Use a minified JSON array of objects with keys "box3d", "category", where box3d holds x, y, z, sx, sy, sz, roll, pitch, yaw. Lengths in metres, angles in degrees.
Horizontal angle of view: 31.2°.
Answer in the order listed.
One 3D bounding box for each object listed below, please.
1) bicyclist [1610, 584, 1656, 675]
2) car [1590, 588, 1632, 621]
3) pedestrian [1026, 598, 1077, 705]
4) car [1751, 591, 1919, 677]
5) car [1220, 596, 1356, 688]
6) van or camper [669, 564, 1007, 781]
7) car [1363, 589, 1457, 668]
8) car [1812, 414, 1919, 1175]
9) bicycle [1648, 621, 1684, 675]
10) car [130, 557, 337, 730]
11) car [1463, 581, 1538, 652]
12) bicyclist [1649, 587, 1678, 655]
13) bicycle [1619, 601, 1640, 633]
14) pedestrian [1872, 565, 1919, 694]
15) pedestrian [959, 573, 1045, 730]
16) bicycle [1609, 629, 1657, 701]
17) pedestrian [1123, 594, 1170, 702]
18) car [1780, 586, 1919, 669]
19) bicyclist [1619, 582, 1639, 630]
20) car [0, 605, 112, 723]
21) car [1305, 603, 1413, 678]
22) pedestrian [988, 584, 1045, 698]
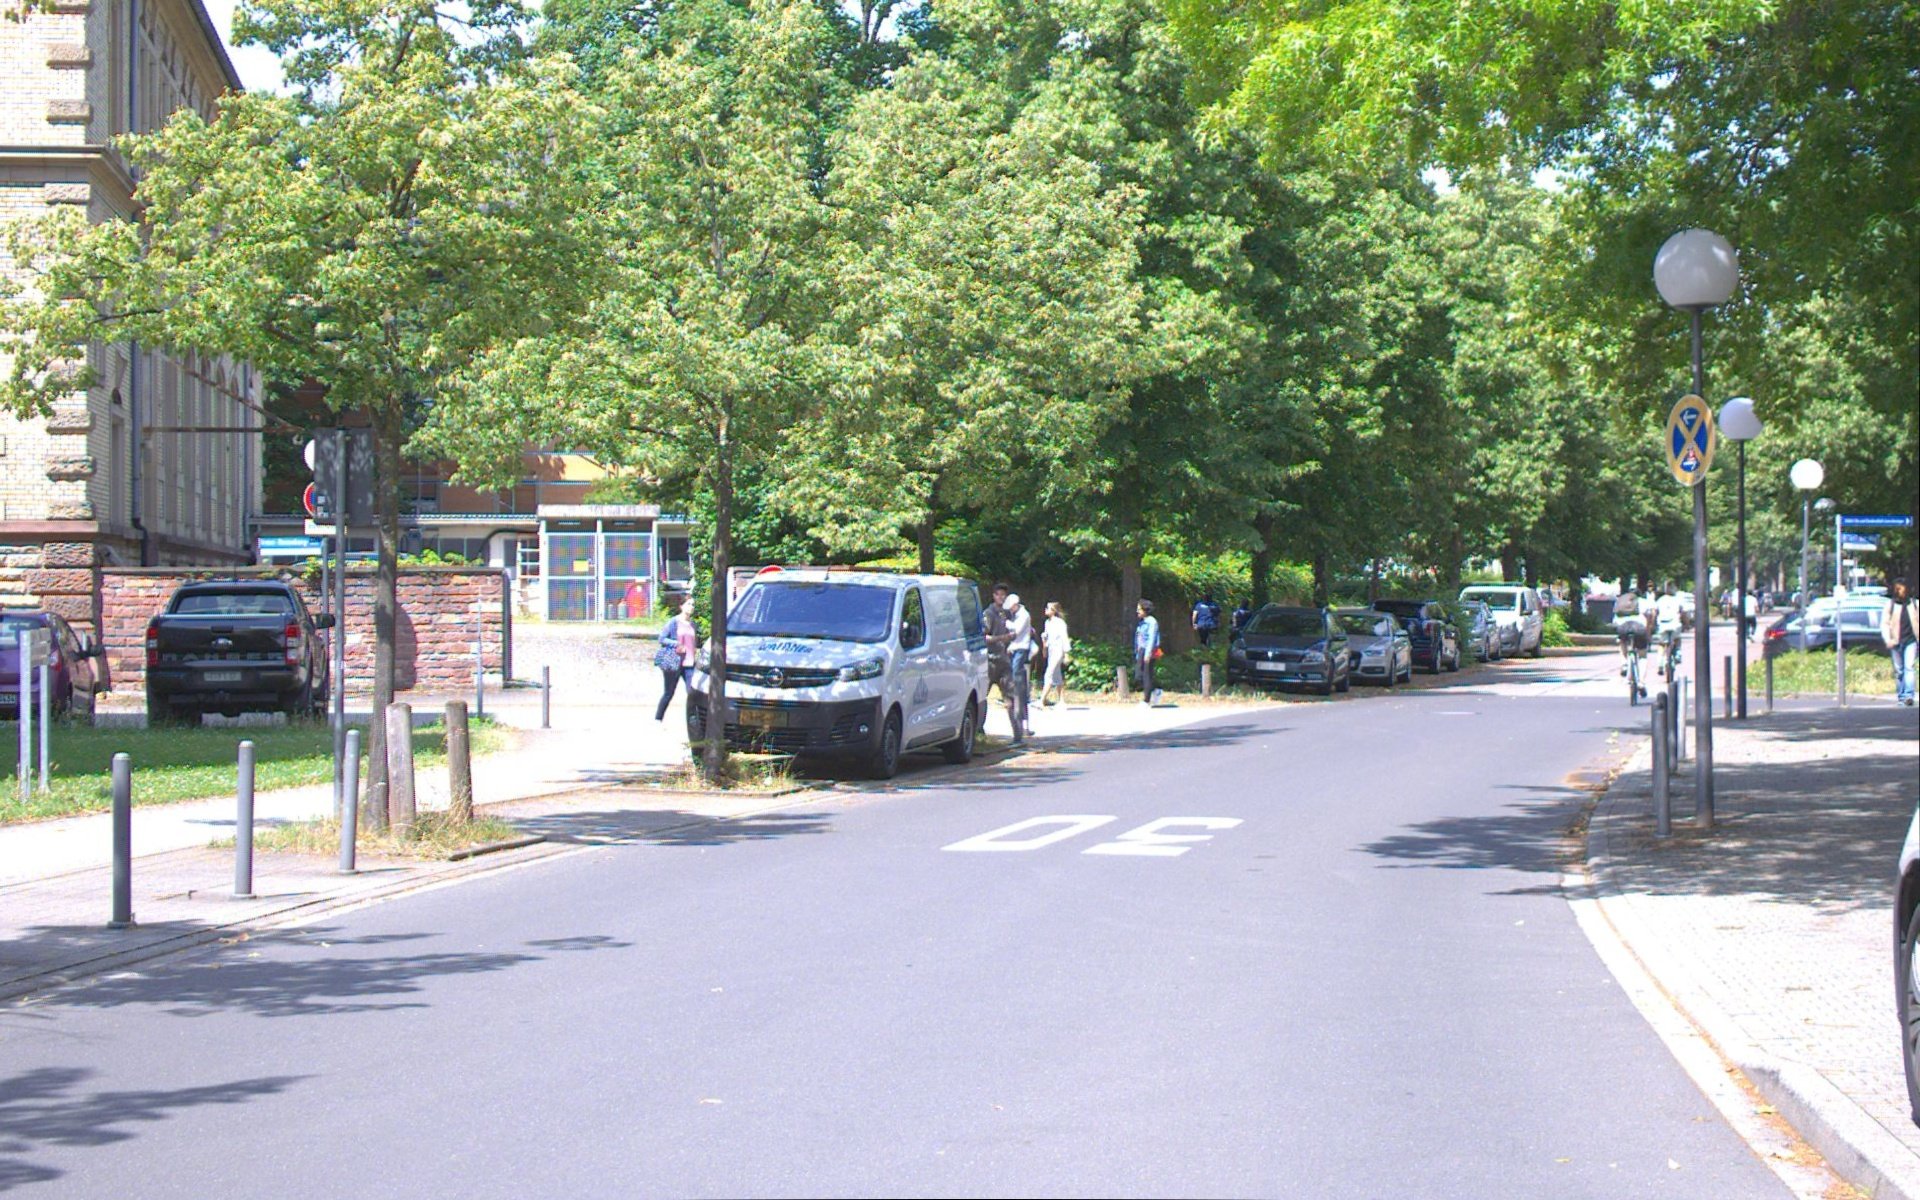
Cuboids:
[{"box3d":[9.617,0.424,49.110,0.610,1.291,0.610,0,0,14],"category":"bicyclist"},{"box3d":[27.817,0.188,146.807,1.616,1.360,4.559,0,0,12],"category":"car"},{"box3d":[1.310,0.740,49.396,0.583,1.522,0.494,0,0,-22],"category":"pedestrian"},{"box3d":[16.946,0.607,63.477,4.488,1.520,1.809,-1,0,15],"category":"car"},{"box3d":[5.686,0.704,59.245,1.761,1.516,4.109,0,0,13],"category":"car"},{"box3d":[-1.071,0.638,33.544,1.954,1.916,5.417,1,0,13],"category":"van or camper"},{"box3d":[9.863,0.594,75.119,1.616,1.673,3.997,0,0,13],"category":"car"},{"box3d":[3.240,0.479,7.254,1.848,1.885,4.890,-1,0,3],"category":"car"},{"box3d":[13.495,0.914,65.658,0.614,0.997,1.422,-1,1,13],"category":"bicycle"},{"box3d":[-8.568,0.483,40.936,2.174,1.919,5.187,0,0,-9],"category":"car"},{"box3d":[14.150,0.424,89.818,1.616,1.809,3.997,0,0,13],"category":"car"},{"box3d":[13.459,0.395,65.762,0.522,1.291,0.610,0,0,14],"category":"bicyclist"},{"box3d":[21.302,0.537,109.403,0.578,0.997,1.422,0,0,13],"category":"bicycle"},{"box3d":[12.963,0.399,47.097,0.822,1.749,0.839,0,0,22],"category":"pedestrian"},{"box3d":[0.505,0.605,41.003,0.725,1.851,0.790,0,0,31],"category":"pedestrian"},{"box3d":[9.617,0.926,49.093,0.614,0.997,1.422,0,0,13],"category":"bicycle"},{"box3d":[2.756,0.702,50.754,0.494,1.580,0.494,0,0,-34],"category":"pedestrian"},{"box3d":[18.481,0.516,68.141,4.259,1.583,1.809,-1,0,15],"category":"car"},{"box3d":[21.281,0.190,109.329,0.563,1.493,0.827,0,0,14],"category":"bicyclist"},{"box3d":[-11.125,0.723,40.588,1.817,1.319,3.769,0,0,-8],"category":"car"},{"box3d":[7.763,0.763,66.695,1.616,1.383,3.997,0,0,13],"category":"car"},{"box3d":[0.829,0.596,50.598,0.626,1.657,0.603,0,0,-29],"category":"pedestrian"}]
